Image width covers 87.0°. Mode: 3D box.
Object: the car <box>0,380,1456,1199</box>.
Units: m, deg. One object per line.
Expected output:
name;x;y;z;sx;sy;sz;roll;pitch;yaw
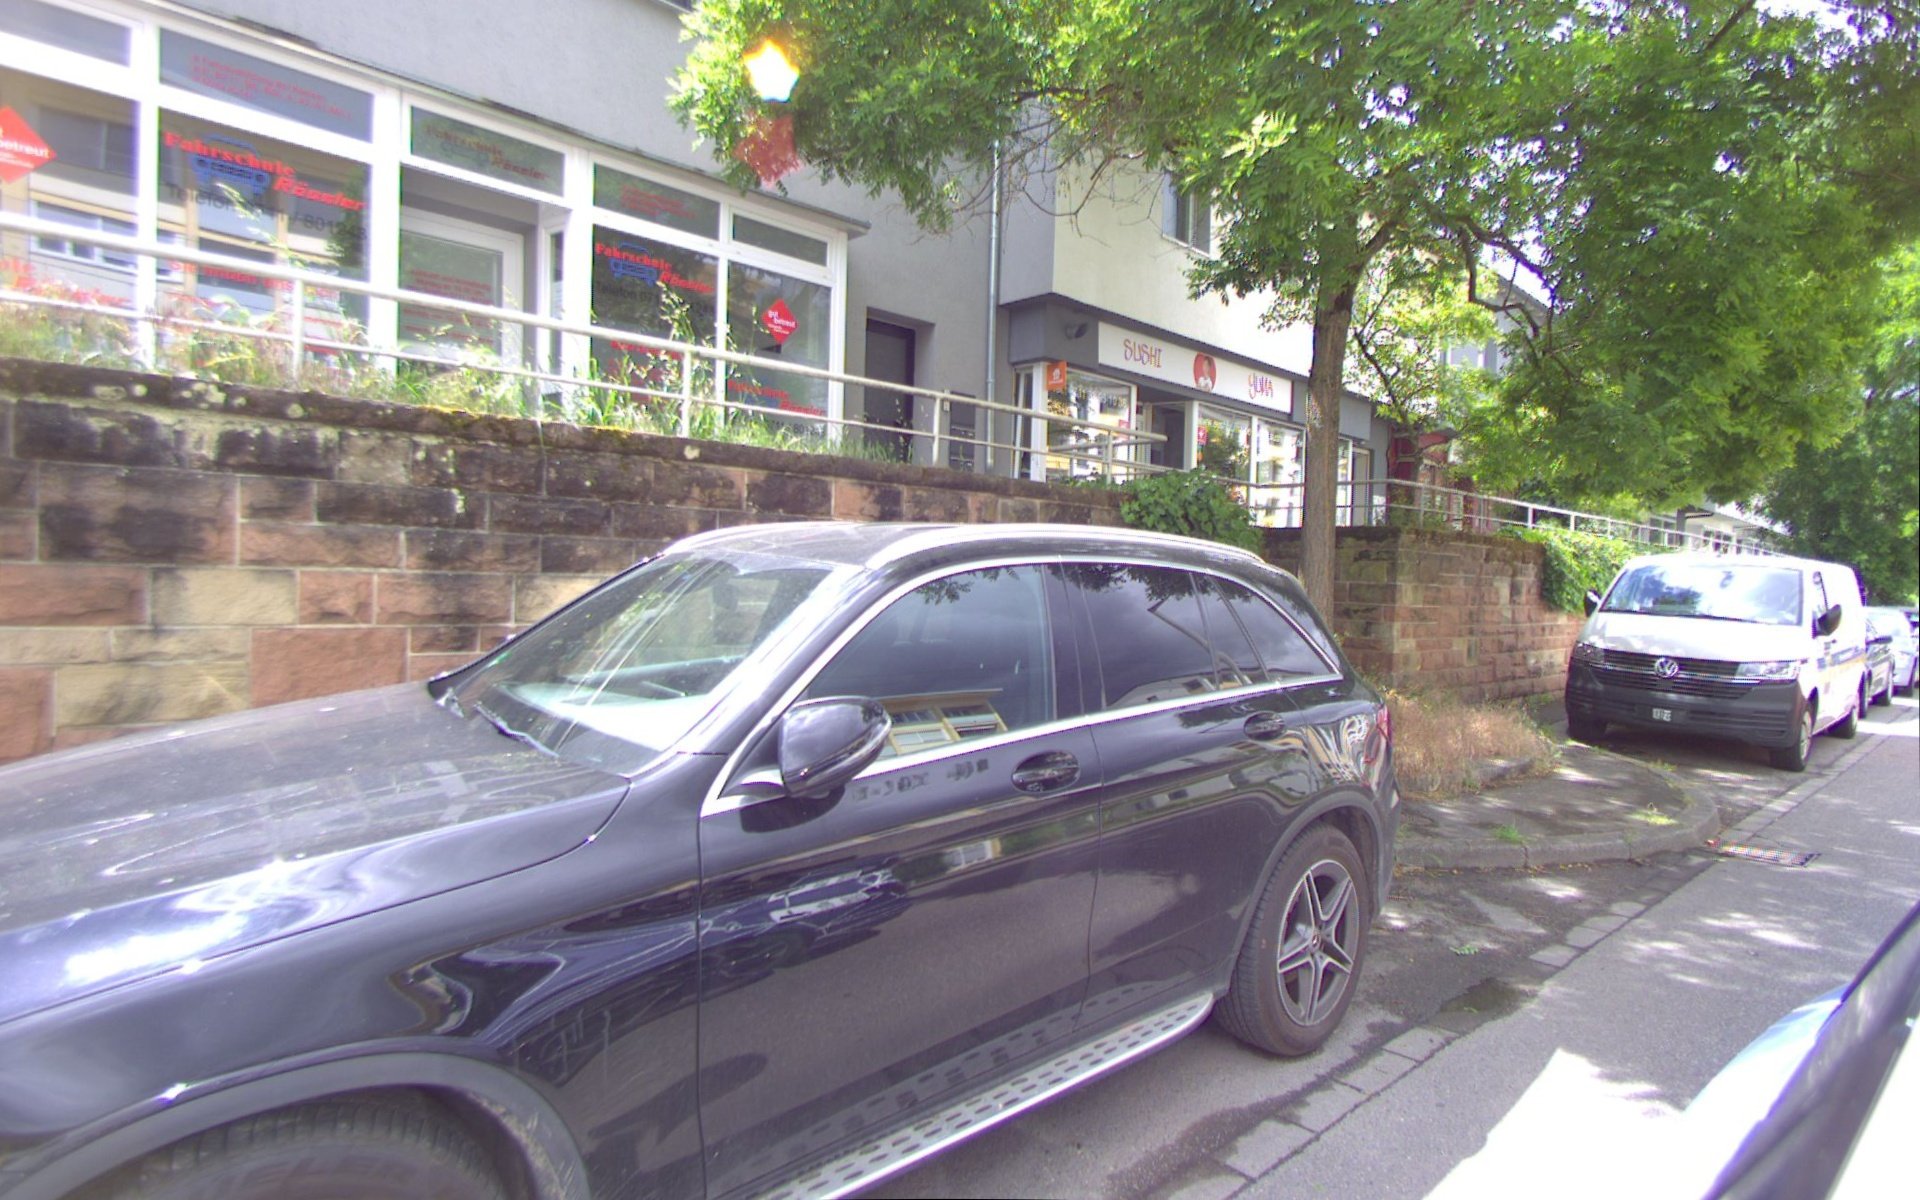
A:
car;-0.458;0.515;2.894;4.371;1.637;1.793;0;4;-42

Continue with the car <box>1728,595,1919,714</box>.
car;12.427;0.683;14.469;3.669;1.446;1.577;0;1;-41

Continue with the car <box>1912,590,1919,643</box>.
car;32.287;0.554;32.801;4.078;1.674;1.816;0;1;-44

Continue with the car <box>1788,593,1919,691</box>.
car;16.192;0.657;17.952;4.076;1.445;1.783;0;4;-44

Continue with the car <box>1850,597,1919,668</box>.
car;21.282;0.682;22.434;4.075;1.446;1.783;0;1;-41

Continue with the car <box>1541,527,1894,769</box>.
car;8.154;0.364;10.693;4.925;1.994;1.977;0;1;-41
